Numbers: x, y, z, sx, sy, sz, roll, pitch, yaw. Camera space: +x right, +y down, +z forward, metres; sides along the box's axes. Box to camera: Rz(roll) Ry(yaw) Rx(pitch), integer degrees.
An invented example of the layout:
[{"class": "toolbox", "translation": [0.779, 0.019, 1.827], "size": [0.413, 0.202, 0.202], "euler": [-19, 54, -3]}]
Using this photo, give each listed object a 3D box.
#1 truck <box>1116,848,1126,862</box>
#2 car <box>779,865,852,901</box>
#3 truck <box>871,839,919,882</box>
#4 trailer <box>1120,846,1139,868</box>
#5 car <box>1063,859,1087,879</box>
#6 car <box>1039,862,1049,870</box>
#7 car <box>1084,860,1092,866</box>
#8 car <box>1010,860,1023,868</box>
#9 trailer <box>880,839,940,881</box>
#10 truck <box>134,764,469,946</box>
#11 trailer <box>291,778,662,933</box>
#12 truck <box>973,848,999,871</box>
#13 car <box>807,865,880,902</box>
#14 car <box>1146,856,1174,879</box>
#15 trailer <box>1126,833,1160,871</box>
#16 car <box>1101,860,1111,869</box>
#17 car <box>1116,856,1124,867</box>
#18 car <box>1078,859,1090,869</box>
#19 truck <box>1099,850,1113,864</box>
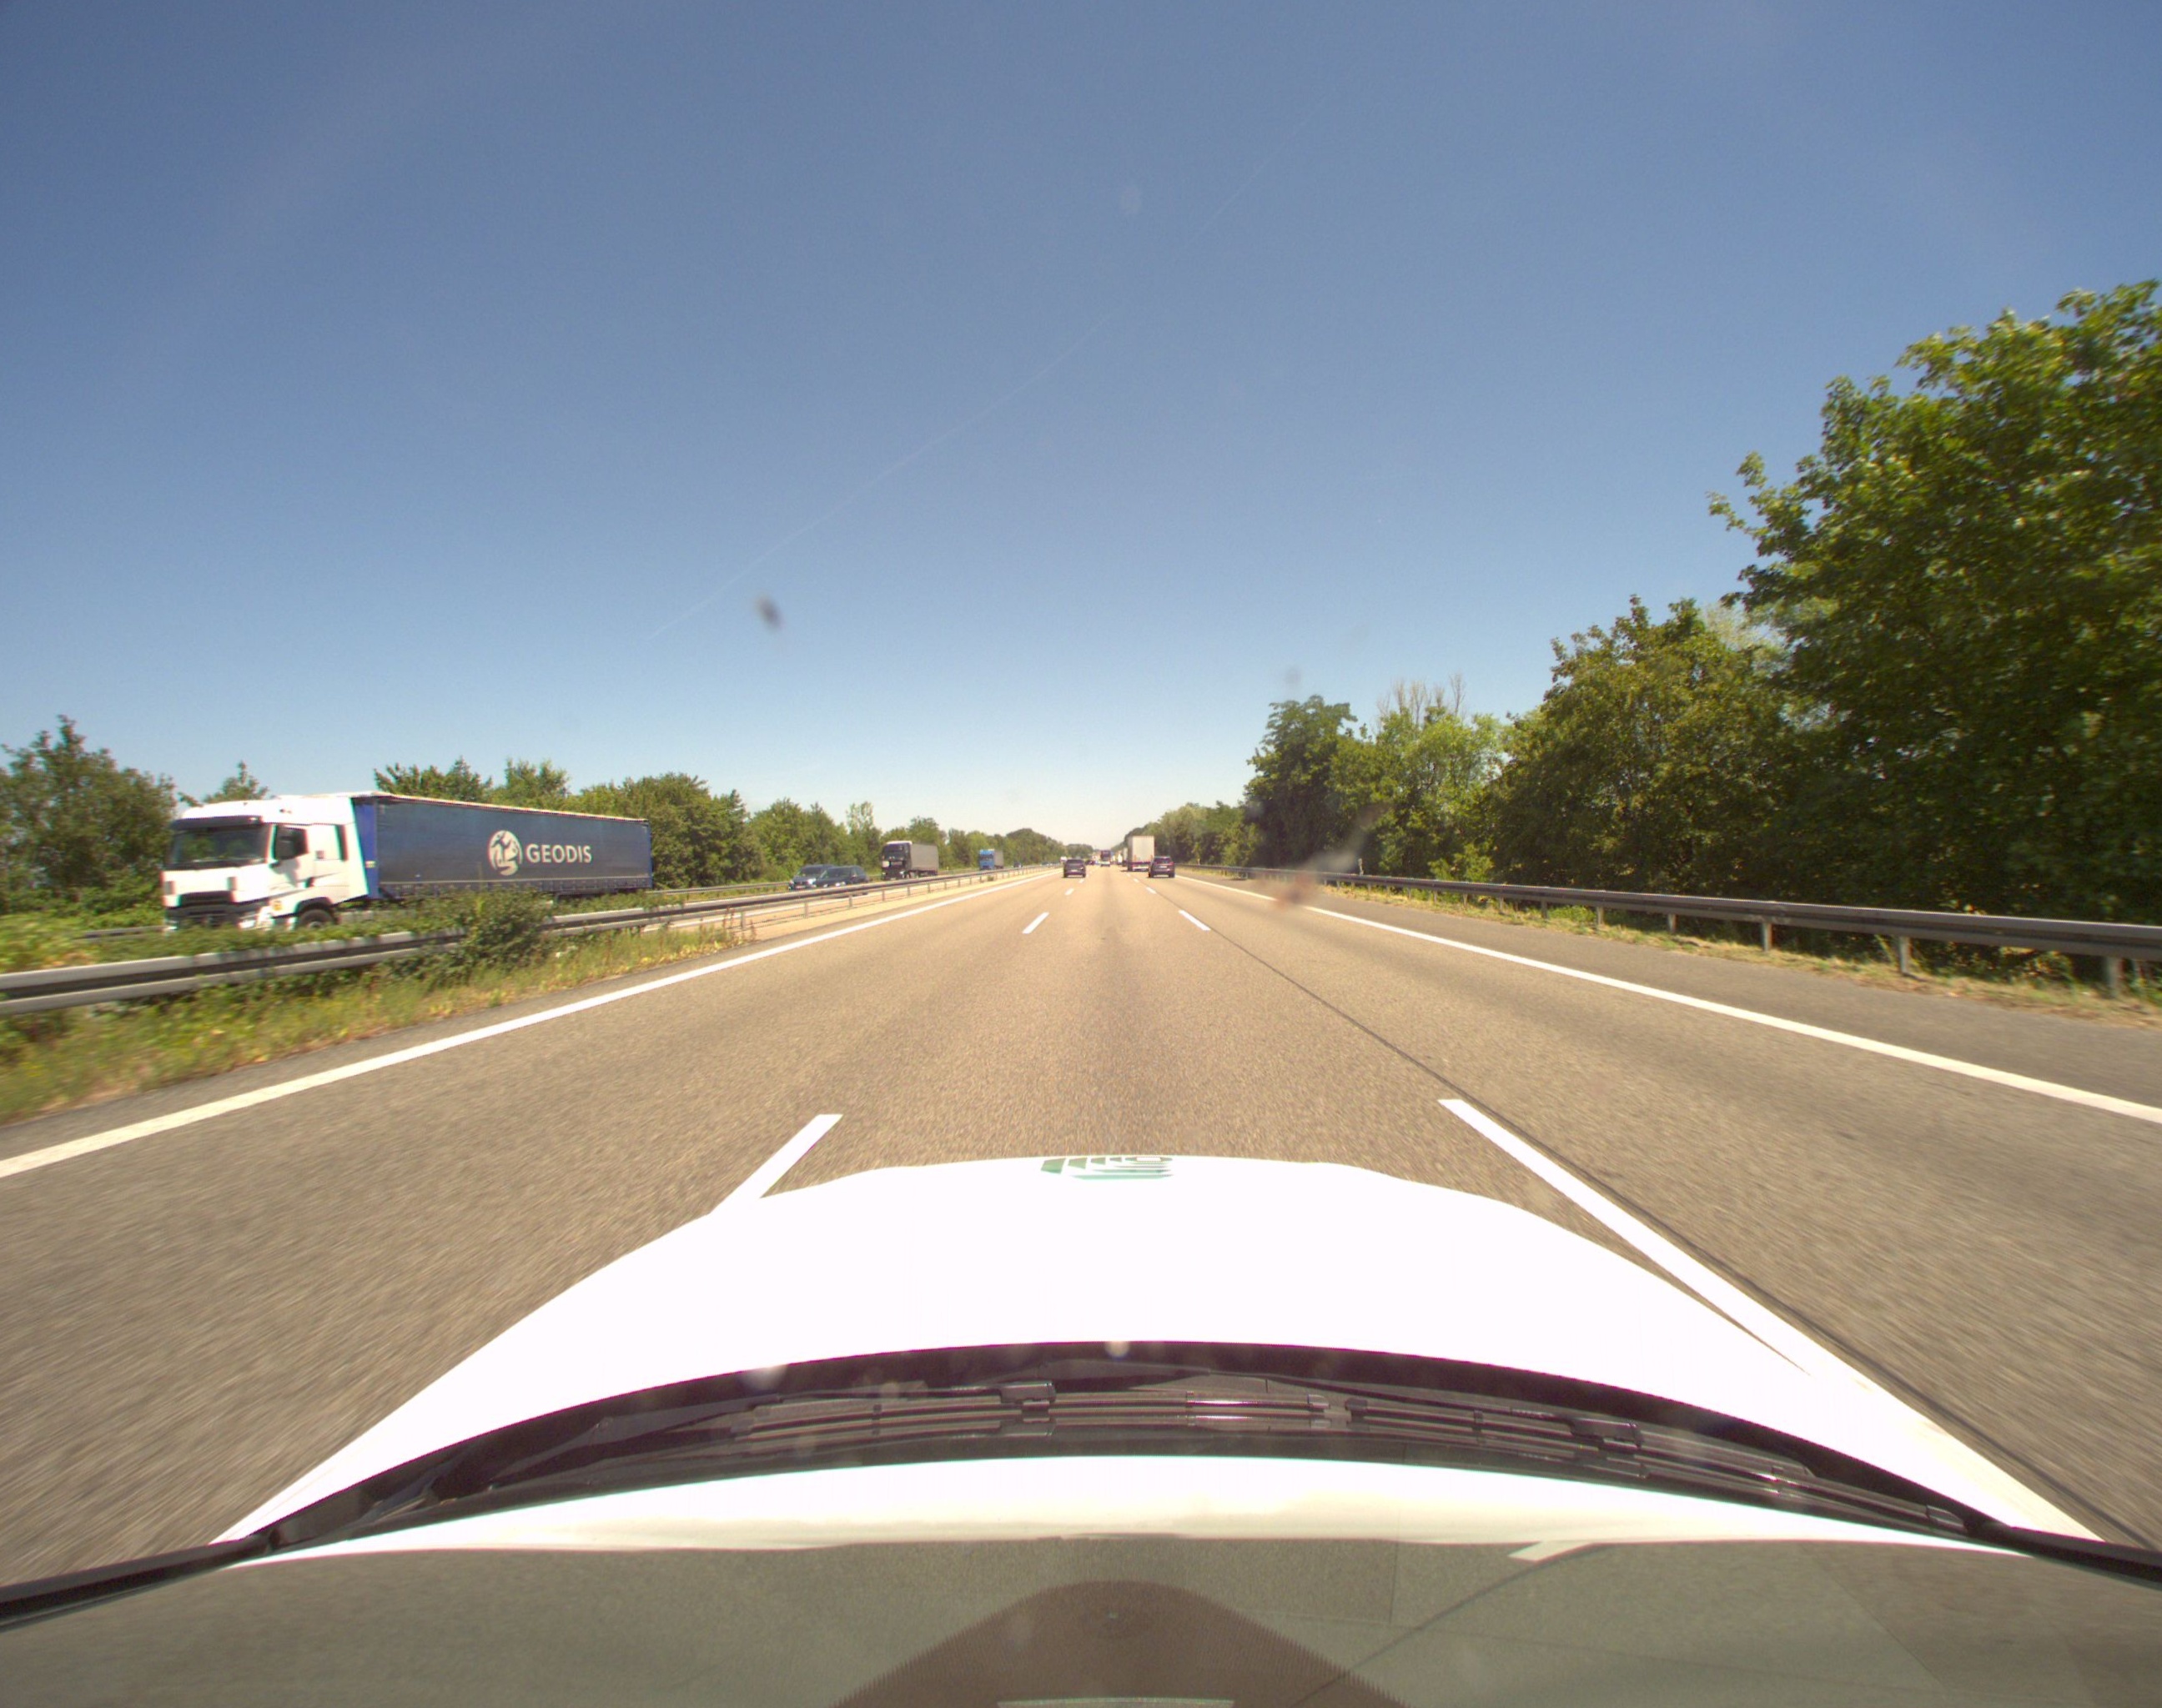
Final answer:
[{"class": "truck", "translation": [10.798, 0.283, 219.082], "size": [2.781, 3.726, 7.114], "euler": [0, 0, 3]}, {"class": "car", "translation": [-15.514, 1.645, 47.914], "size": [2.218, 1.989, 5.362], "euler": [0, 0, 4]}, {"class": "truck", "translation": [-18.775, 0.636, 82.702], "size": [3.186, 4.129, 6.196], "euler": [-1, 0, 1]}, {"class": "trailer", "translation": [9.263, 0.543, 155.421], "size": [3.111, 3.926, 9.938], "euler": [0, 0, 1]}, {"class": "car", "translation": [-0.472, 1.187, 66.811], "size": [1.752, 1.531, 4.287], "euler": [0, 0, 2]}, {"class": "car", "translation": [-7.663, 2.400, 169.031], "size": [1.843, 1.463, 5.170], "euler": [-4, -1, 1]}, {"class": "car", "translation": [1.901, 2.356, 211.416], "size": [1.900, 1.531, 4.287], "euler": [0, 0, 2]}, {"class": "car", "translation": [-12.407, 1.854, 156.928], "size": [1.843, 1.463, 4.315], "euler": [2, -1, 1]}, {"class": "trailer", "translation": [-18.651, 0.589, 90.018], "size": [3.337, 4.186, 13.544], "euler": [-2, 0, 1]}, {"class": "truck", "translation": [-20.758, 0.053, 22.331], "size": [2.906, 4.129, 6.195], "euler": [-4, -1, 1]}, {"class": "trailer", "translation": [-20.524, 0.101, 29.733], "size": [2.909, 4.186, 13.545], "euler": [-4, -1, 2]}, {"class": "truck", "translation": [-17.041, 0.907, 146.399], "size": [3.240, 3.986, 8.730], "euler": [-1, 0, 2]}, {"class": "car", "translation": [-11.187, 1.346, 38.686], "size": [1.744, 1.484, 4.729], "euler": [-6, -1, 3]}, {"class": "car", "translation": [6.057, 1.000, 62.599], "size": [1.838, 1.629, 4.137], "euler": [-2, 0, 2]}, {"class": "trailer", "translation": [7.104, -0.139, 95.598], "size": [3.421, 4.181, 13.638], "euler": [0, -1, 2]}, {"class": "car", "translation": [4.785, 1.996, 155.385], "size": [1.893, 1.531, 4.086], "euler": [0, 0, 2]}, {"class": "car", "translation": [9.394, 1.738, 195.089], "size": [1.900, 2.425, 4.287], "euler": [0, 0, 2]}, {"class": "car", "translation": [0.540, 1.662, 133.282], "size": [1.893, 1.531, 4.086], "euler": [0, 0, 2]}, {"class": "truck", "translation": [6.746, 0.731, 220.233], "size": [3.652, 3.726, 7.114], "euler": [0, 0, 3]}]
